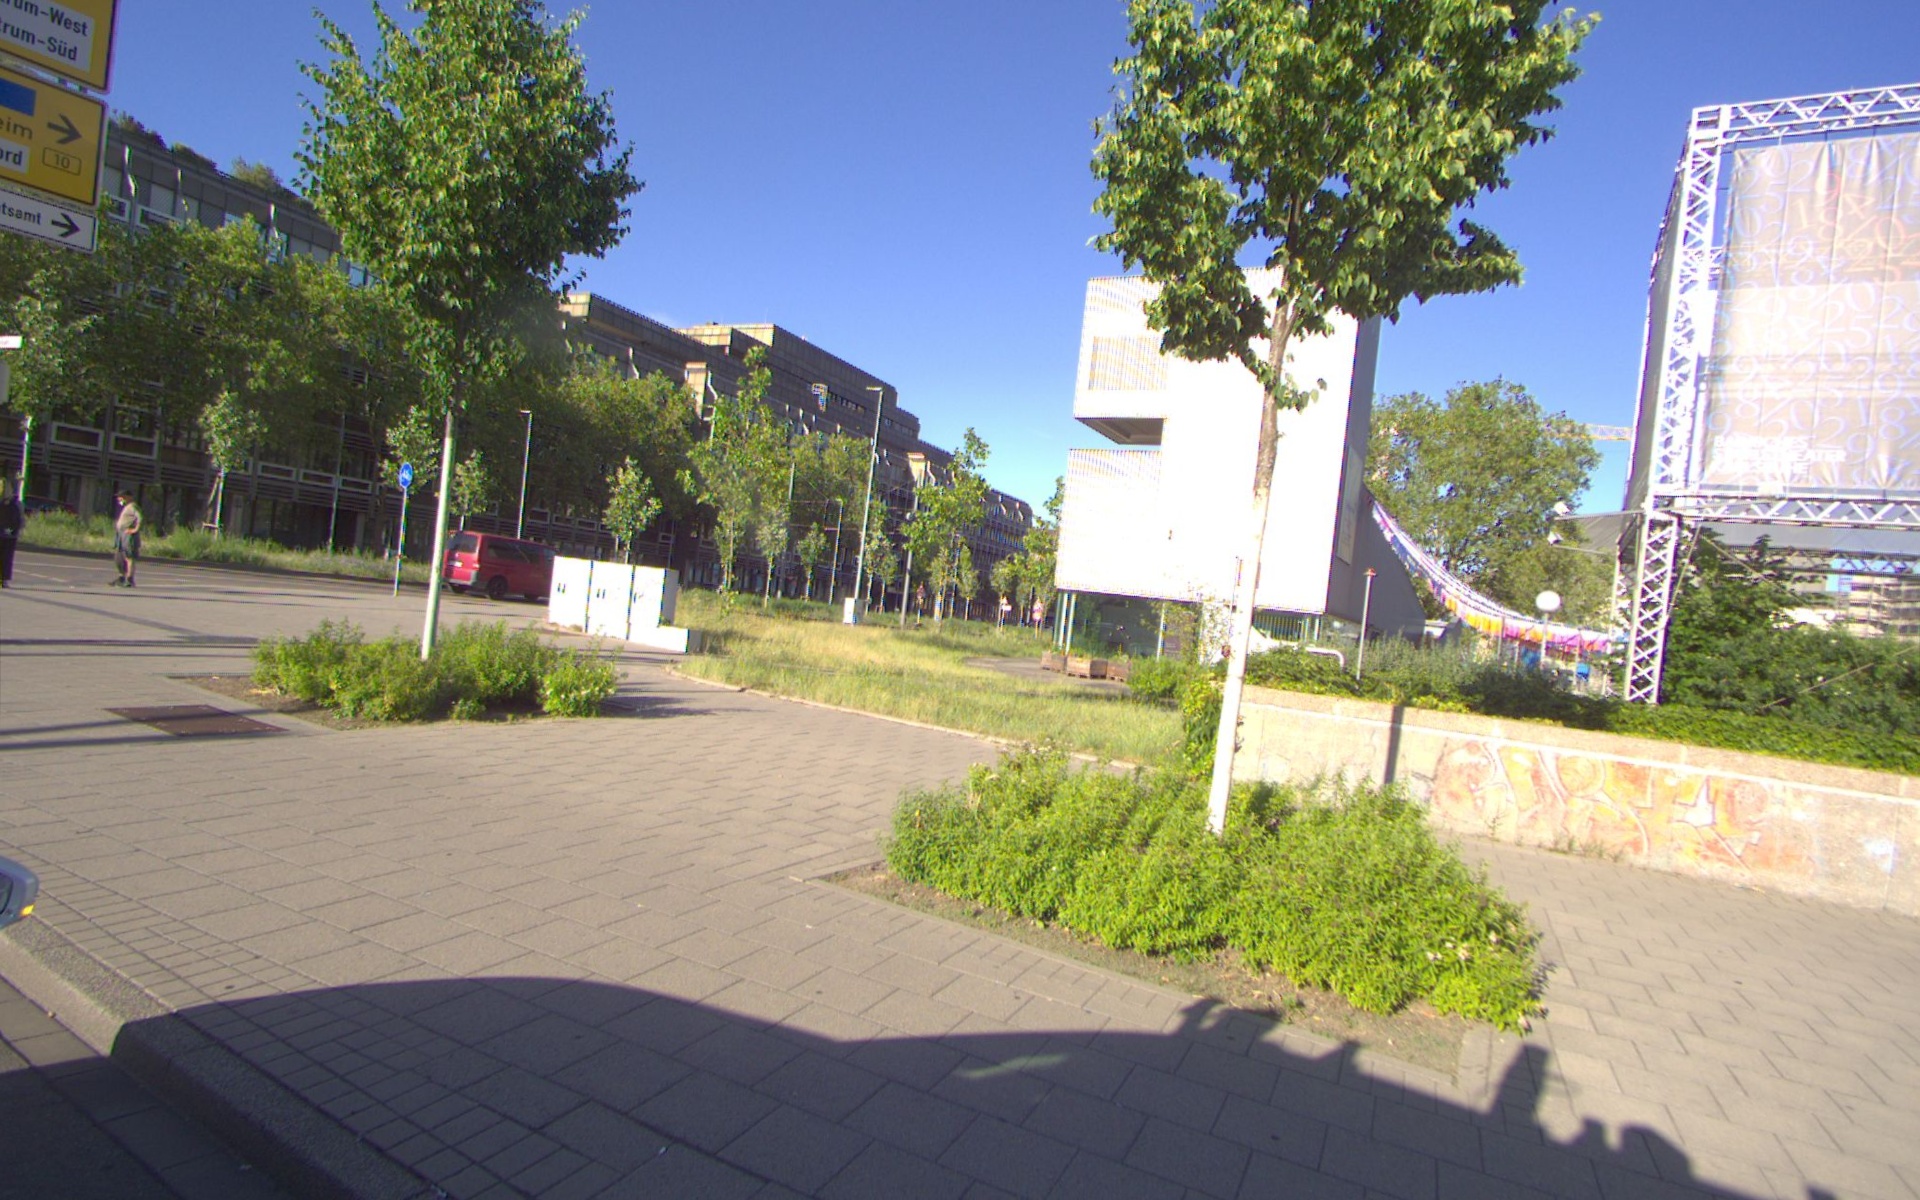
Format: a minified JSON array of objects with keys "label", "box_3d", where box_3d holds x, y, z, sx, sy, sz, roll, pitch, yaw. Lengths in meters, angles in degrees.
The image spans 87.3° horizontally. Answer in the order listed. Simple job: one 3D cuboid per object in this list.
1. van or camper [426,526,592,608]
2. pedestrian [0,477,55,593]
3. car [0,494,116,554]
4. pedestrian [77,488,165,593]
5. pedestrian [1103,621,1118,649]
[{"label":"van or camper","box_3d":[-14.450,-0.991,32.571,1.969,2.038,4.844,7,-1,19]},{"label":"pedestrian","box_3d":[-14.181,-0.984,14.936,0.859,1.634,0.767,7,1,30]},{"label":"car","box_3d":[-33.135,-2.768,35.799,1.792,1.704,4.302,7,-1,21]},{"label":"pedestrian","box_3d":[-14.932,-1.044,17.912,0.755,1.728,0.873,7,1,30]},{"label":"pedestrian","box_3d":[9.167,2.122,61.213,0.520,1.571,0.638,7,-1,31]}]
